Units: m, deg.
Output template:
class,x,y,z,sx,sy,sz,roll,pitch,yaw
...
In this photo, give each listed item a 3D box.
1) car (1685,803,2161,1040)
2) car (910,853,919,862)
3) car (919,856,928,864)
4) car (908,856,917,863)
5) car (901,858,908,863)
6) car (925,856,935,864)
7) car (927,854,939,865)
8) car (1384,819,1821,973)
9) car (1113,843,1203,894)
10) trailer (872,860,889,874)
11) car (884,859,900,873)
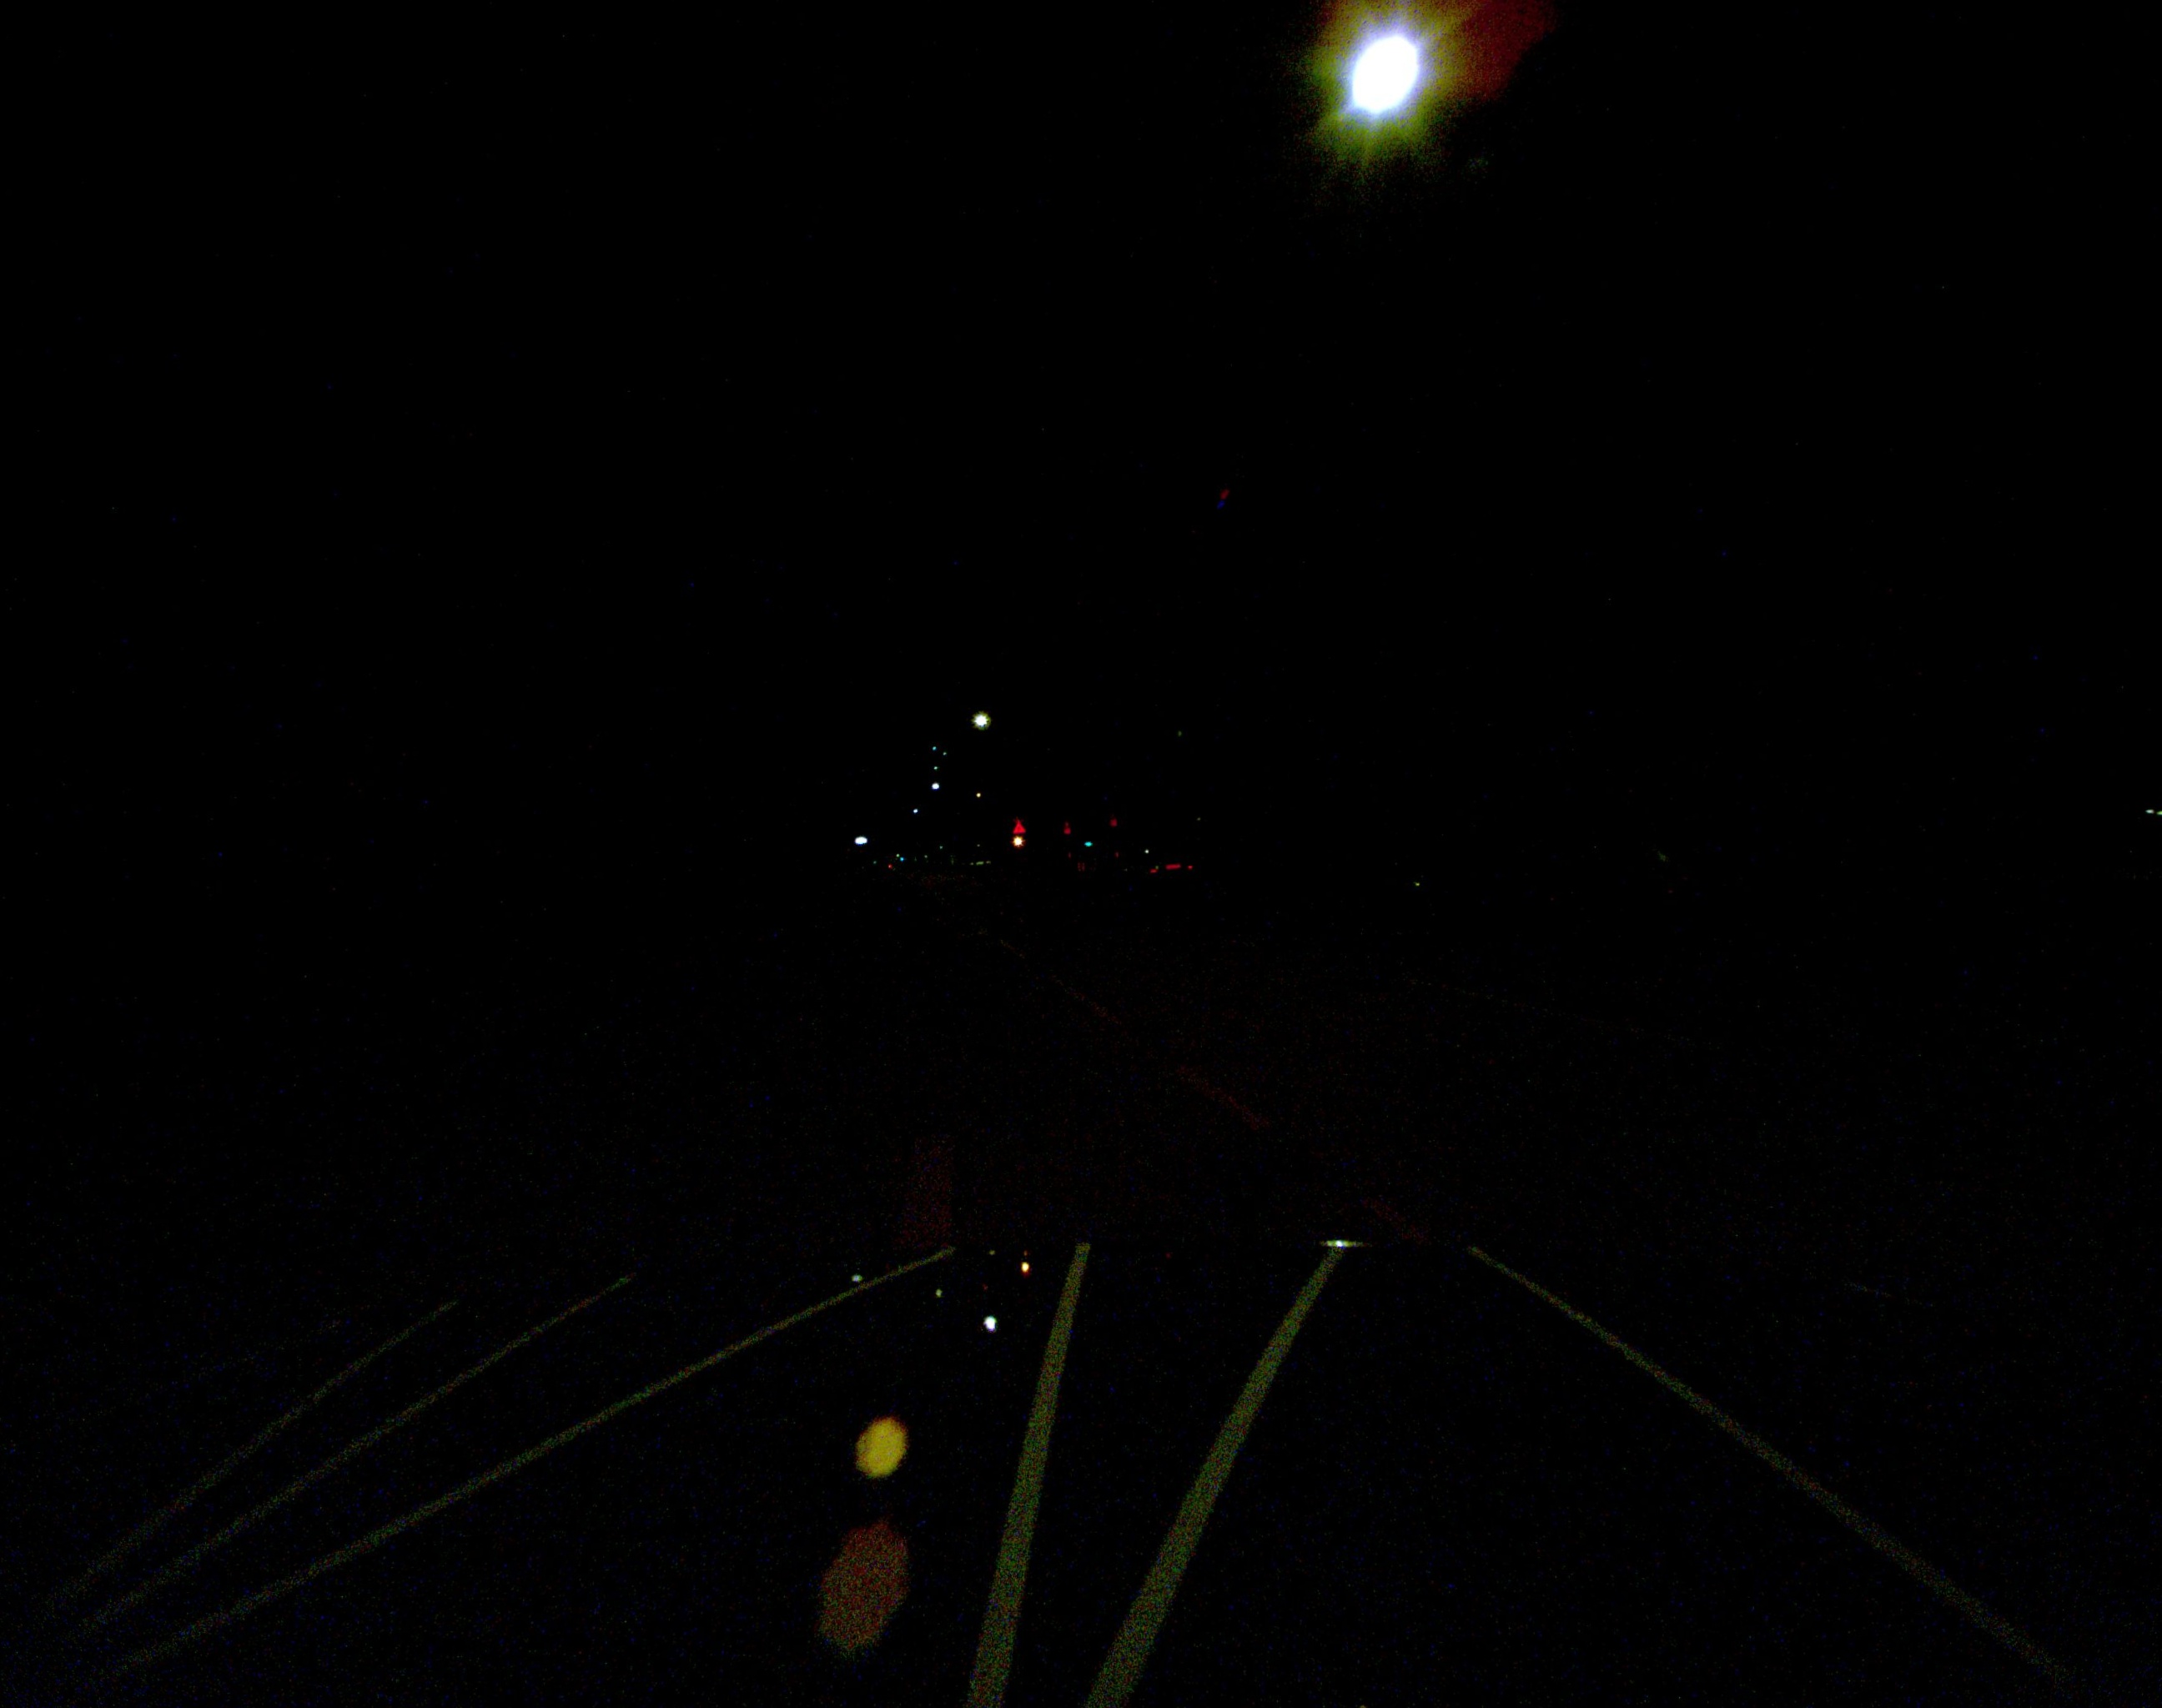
class,x,y,z,sx,sy,sz,roll,pitch,yaw
car,7.560,0.395,5.504,1.774,1.477,4.857,-3,1,-14
car,-47.135,1.029,214.942,2.007,2.493,4.947,-7,1,-16
car,-35.522,1.307,171.462,1.828,1.637,3.727,-3,0,-13
car,-45.137,1.479,203.290,1.828,1.424,3.726,-7,1,-16
car,-56.100,2.047,240.869,1.828,1.424,3.726,-7,1,-16
car,-29.841,1.163,150.179,1.828,1.424,3.727,-6,1,-13
car,-28.157,1.041,144.381,1.884,1.799,3.727,-6,1,-13
car,6.399,0.418,10.178,1.774,1.477,4.761,-3,1,-15
car,2.559,0.471,26.179,1.720,1.485,3.985,-5,1,-14
trailer,-24.778,1.561,94.058,1.606,1.486,3.730,-5,1,-10
car,-21.255,1.329,85.556,1.592,1.453,3.793,-5,1,-12
